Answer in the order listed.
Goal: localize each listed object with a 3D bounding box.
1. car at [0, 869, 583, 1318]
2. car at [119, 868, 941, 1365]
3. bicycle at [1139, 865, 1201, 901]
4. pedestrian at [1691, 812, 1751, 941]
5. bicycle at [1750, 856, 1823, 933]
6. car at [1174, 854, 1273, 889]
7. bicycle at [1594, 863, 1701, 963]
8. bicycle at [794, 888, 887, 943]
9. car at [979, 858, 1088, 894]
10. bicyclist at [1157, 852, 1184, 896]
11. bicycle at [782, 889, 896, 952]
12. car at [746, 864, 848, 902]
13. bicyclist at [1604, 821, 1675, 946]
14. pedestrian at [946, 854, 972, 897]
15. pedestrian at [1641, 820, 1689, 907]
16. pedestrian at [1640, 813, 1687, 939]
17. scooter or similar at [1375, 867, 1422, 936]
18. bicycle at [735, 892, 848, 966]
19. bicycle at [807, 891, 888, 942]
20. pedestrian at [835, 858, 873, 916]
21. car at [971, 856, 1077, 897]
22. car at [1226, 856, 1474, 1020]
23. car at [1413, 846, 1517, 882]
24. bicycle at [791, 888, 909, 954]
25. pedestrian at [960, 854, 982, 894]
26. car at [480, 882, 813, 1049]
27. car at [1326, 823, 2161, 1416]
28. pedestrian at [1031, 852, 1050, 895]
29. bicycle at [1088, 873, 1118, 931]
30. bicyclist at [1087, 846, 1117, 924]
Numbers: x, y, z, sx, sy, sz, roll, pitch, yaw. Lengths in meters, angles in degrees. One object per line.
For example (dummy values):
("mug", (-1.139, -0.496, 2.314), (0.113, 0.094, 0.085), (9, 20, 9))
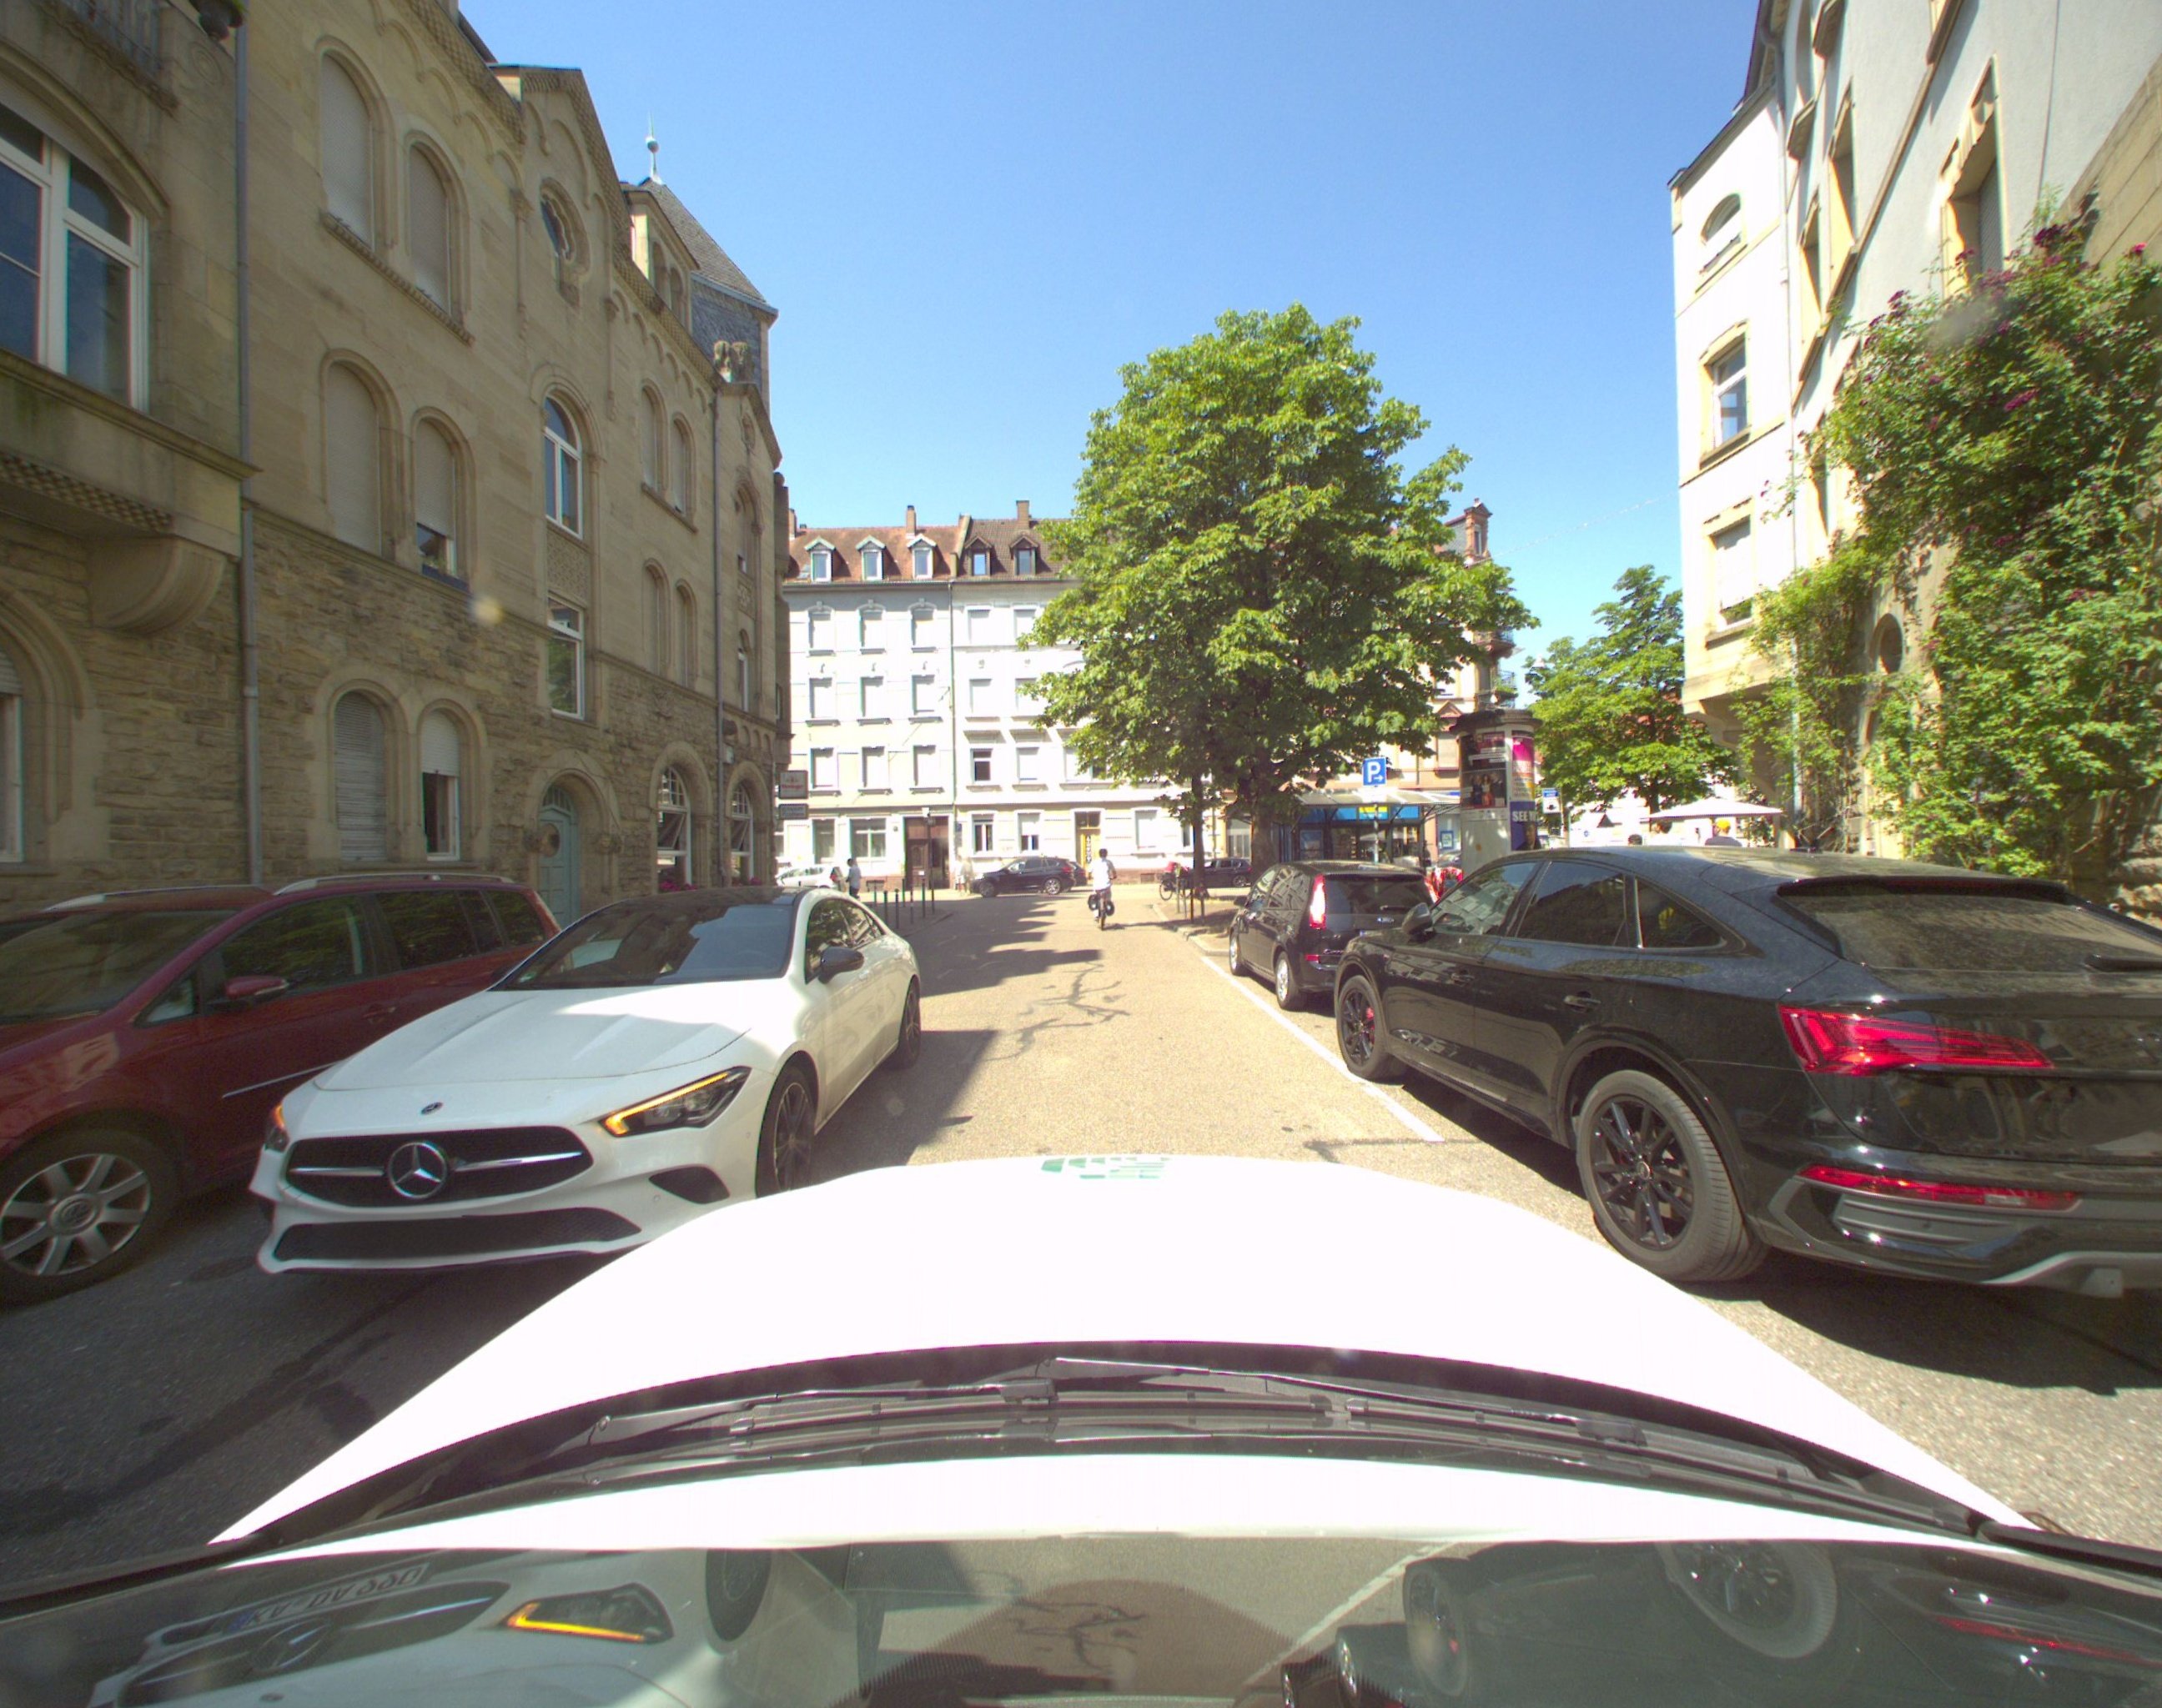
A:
("car", (-4.766, 0.935, 4.377), (1.668, 1.583, 4.050), (-4, -1, -2))
("car", (-2.176, 0.889, 4.845), (1.835, 1.461, 4.361), (-4, -1, 0))
("bicycle", (3.158, 1.004, 28.675), (2.453, 1.209, 0.646), (1, -1, -39))
("pedestrian", (9.722, 0.329, 12.363), (0.593, 1.880, 0.888), (-2, -1, 43))
("bicycle", (10.565, 0.573, 12.248), (0.542, 1.039, 1.849), (-3, -1, 33))
("car", (6.550, 0.770, 37.754), (4.281, 1.370, 1.807), (-2, 2, -1))
("bicycle", (7.702, 0.737, 11.196), (0.786, 1.169, 2.593), (-2, -1, 26))
("bicycle", (-4.750, 1.221, 16.145), (1.701, 1.045, 0.413), (1, -1, -4))
("car", (-2.130, 0.993, 37.546), (4.844, 1.437, 1.999), (-2, -1, -1))
("bicyclist", (3.153, 0.702, 28.664), (0.612, 1.533, 0.664), (-1, -1, -40))
("bicycle", (-4.498, 1.227, 15.212), (1.991, 1.130, 0.435), (0, -1, -4))
("car", (-13.063, 1.301, 37.671), (4.035, 1.562, 1.806), (-2, -1, -2))
("bicyclist", (7.636, 0.401, 11.162), (0.671, 1.648, 0.666), (-2, -1, 28))
("pedestrian", (-5.520, 0.970, 36.847), (0.844, 1.889, 0.938), (-2, -1, 10))
("pedestrian", (12.430, 0.194, 17.330), (0.753, 1.794, 0.576), (-1, -1, -38))
("pedestrian", (8.934, 0.330, 12.489), (0.513, 1.869, 0.658), (-2, -1, 36))
("scooter or similar", (5.630, 0.818, 14.429), (0.437, 1.136, 1.193), (-3, -1, 37))
("bicycle", (-4.873, 1.260, 13.749), (1.699, 1.100, 0.291), (-4, -1, -5))
("bicycle", (-4.749, 1.266, 16.611), (1.522, 1.008, 0.366), (1, -1, -4))
("pedestrian", (-6.791, 0.982, 24.366), (0.854, 1.672, 0.774), (-2, -1, 0))
("car", (-2.323, 0.919, 33.851), (4.210, 1.519, 1.806), (-2, -1, -1))
("car", (2.930, 0.812, 9.829), (1.657, 1.540, 4.177), (1, -1, 0))
("car", (17.875, 0.462, 38.005), (3.975, 1.506, 1.778), (-2, -1, -1))
("bicycle", (-4.168, 1.206, 14.761), (1.968, 1.130, 0.394), (2, -1, -4))
("pedestrian", (-5.077, 0.913, 37.781), (0.899, 1.814, 0.958), (-2, -1, -5))
("car", (-4.813, 1.114, 9.901), (1.697, 1.352, 4.511), (-4, -1, -2))
("car", (2.911, 0.740, 4.419), (1.731, 1.597, 4.344), (1, -1, -2))
("pedestrian", (-1.817, 0.853, 36.211), (0.724, 1.853, 0.682), (-2, -1, -10))
("bicycle", (0.507, 1.072, 18.911), (0.649, 1.228, 2.441), (0, -1, 1))
("bicyclist", (0.485, 0.705, 18.825), (0.668, 1.760, 0.609), (0, -1, 1))
